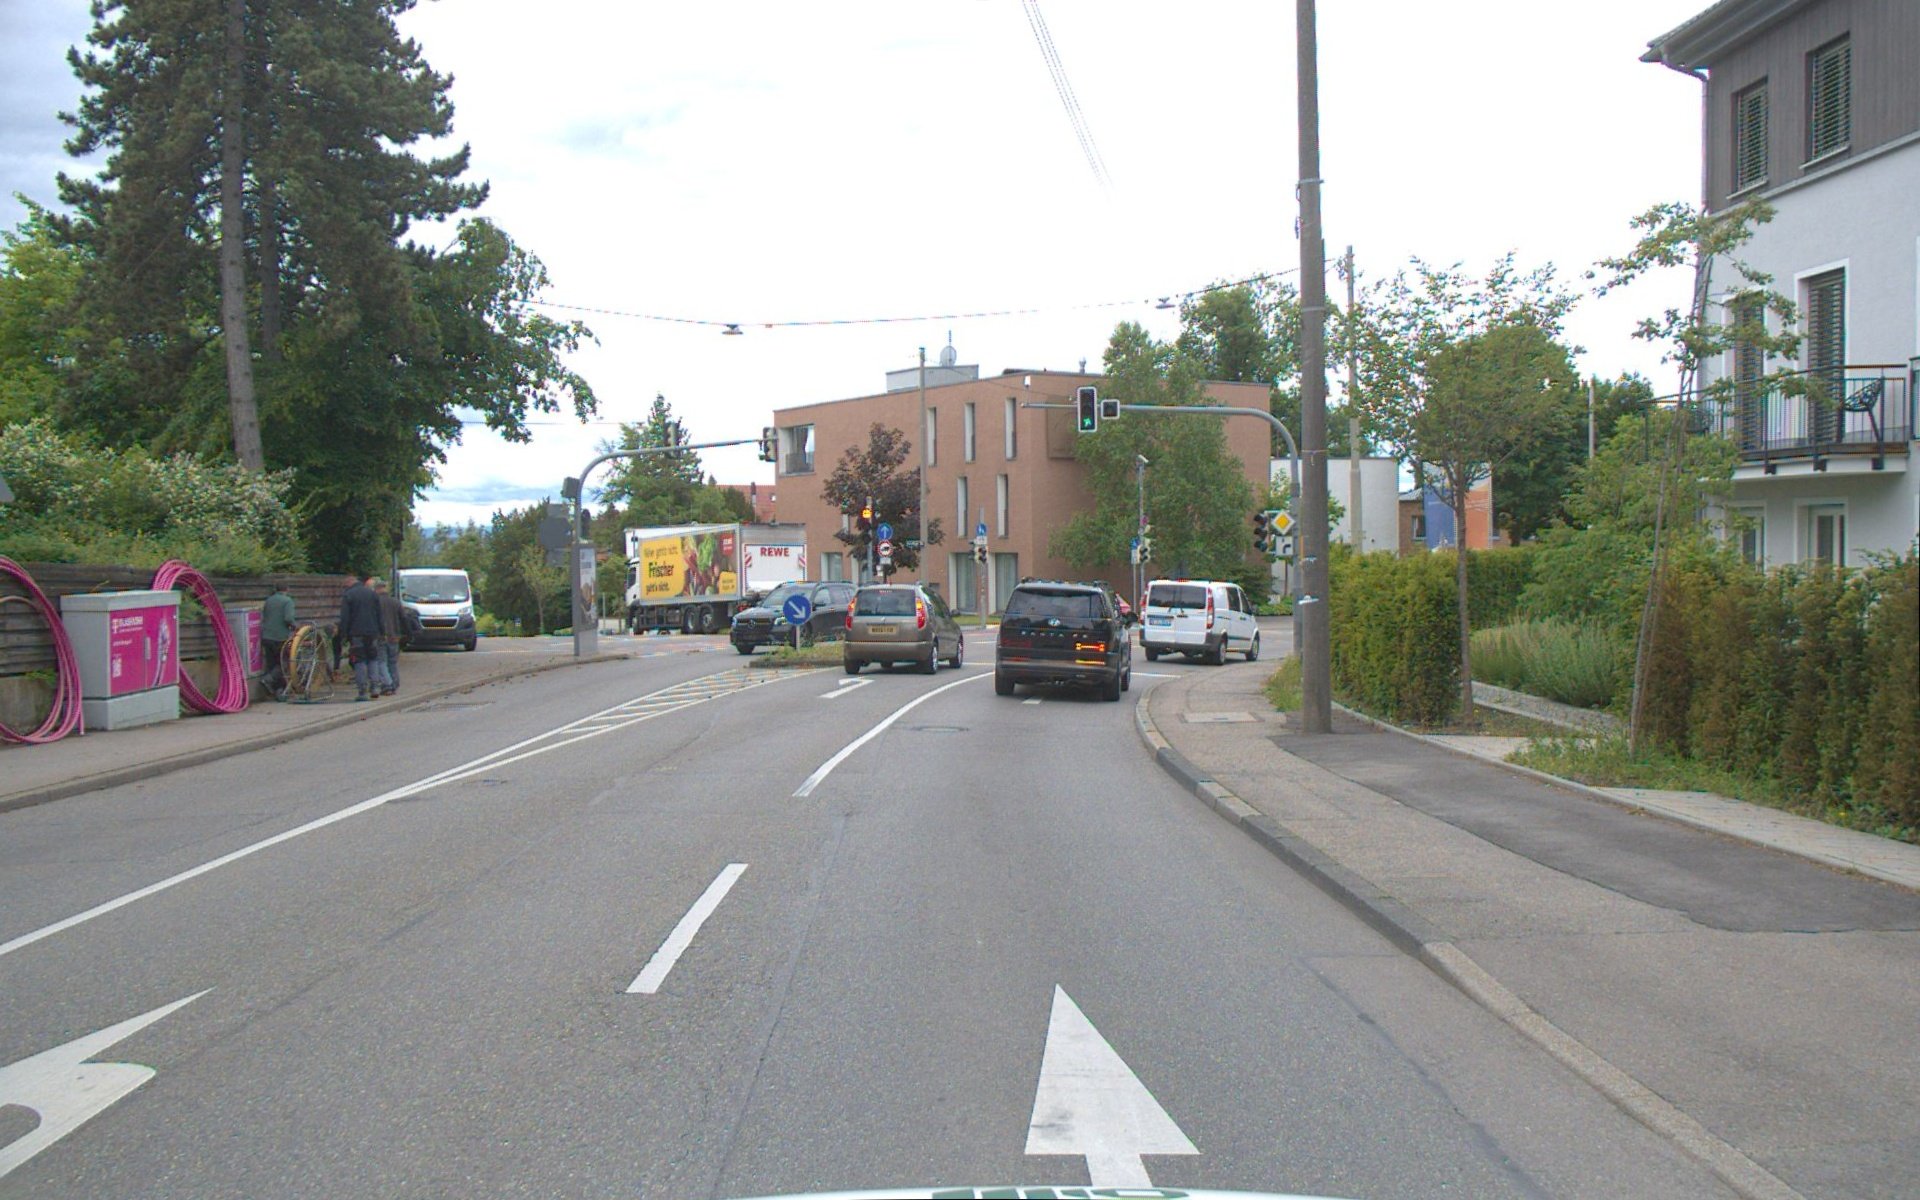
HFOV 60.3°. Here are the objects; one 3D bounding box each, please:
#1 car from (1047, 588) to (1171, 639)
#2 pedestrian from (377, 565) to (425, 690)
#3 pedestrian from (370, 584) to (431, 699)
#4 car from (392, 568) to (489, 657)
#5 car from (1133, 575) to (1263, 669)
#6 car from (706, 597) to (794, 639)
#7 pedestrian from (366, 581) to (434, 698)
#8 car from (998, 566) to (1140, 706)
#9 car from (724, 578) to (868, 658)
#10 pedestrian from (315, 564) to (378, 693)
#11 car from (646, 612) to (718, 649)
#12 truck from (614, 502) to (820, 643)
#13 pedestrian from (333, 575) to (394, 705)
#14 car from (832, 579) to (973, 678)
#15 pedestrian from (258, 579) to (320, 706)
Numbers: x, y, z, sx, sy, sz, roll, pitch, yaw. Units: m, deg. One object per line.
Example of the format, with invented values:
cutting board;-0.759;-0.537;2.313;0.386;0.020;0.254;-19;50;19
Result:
car;4.926;0.425;54.356;1.965;1.591;4.192;0;0;42
pedestrian;-9.403;0.447;27.824;0.695;2.049;1.019;0;0;-16
pedestrian;-8.810;0.639;26.029;0.858;1.784;0.688;0;0;-25
car;-14.477;0.308;45.827;2.247;2.266;6.432;-1;0;-20
car;5.760;0.469;39.544;1.922;2.048;4.426;3;2;23
car;-10.501;0.871;82.777;3.945;2.049;1.980;0;0;-30
pedestrian;-8.598;0.594;25.388;0.683;1.764;0.748;-1;0;43
car;1.668;0.514;25.626;1.952;1.914;4.002;2;0;3
car;-3.973;0.467;40.827;1.951;1.829;4.522;-1;-2;17
pedestrian;-9.888;0.455;26.668;0.690;2.049;0.813;0;0;2
car;-16.330;1.780;97.083;3.925;2.049;1.990;-1;0;-18
truck;-9.377;-0.968;62.218;3.097;4.817;11.658;-1;0;-33
pedestrian;-8.698;0.570;24.114;0.742;1.869;0.608;0;0;-30
car;-1.004;0.503;31.088;1.852;1.736;4.003;-1;0;10
pedestrian;-9.752;0.605;24.030;0.804;1.794;0.861;0;0;-24
